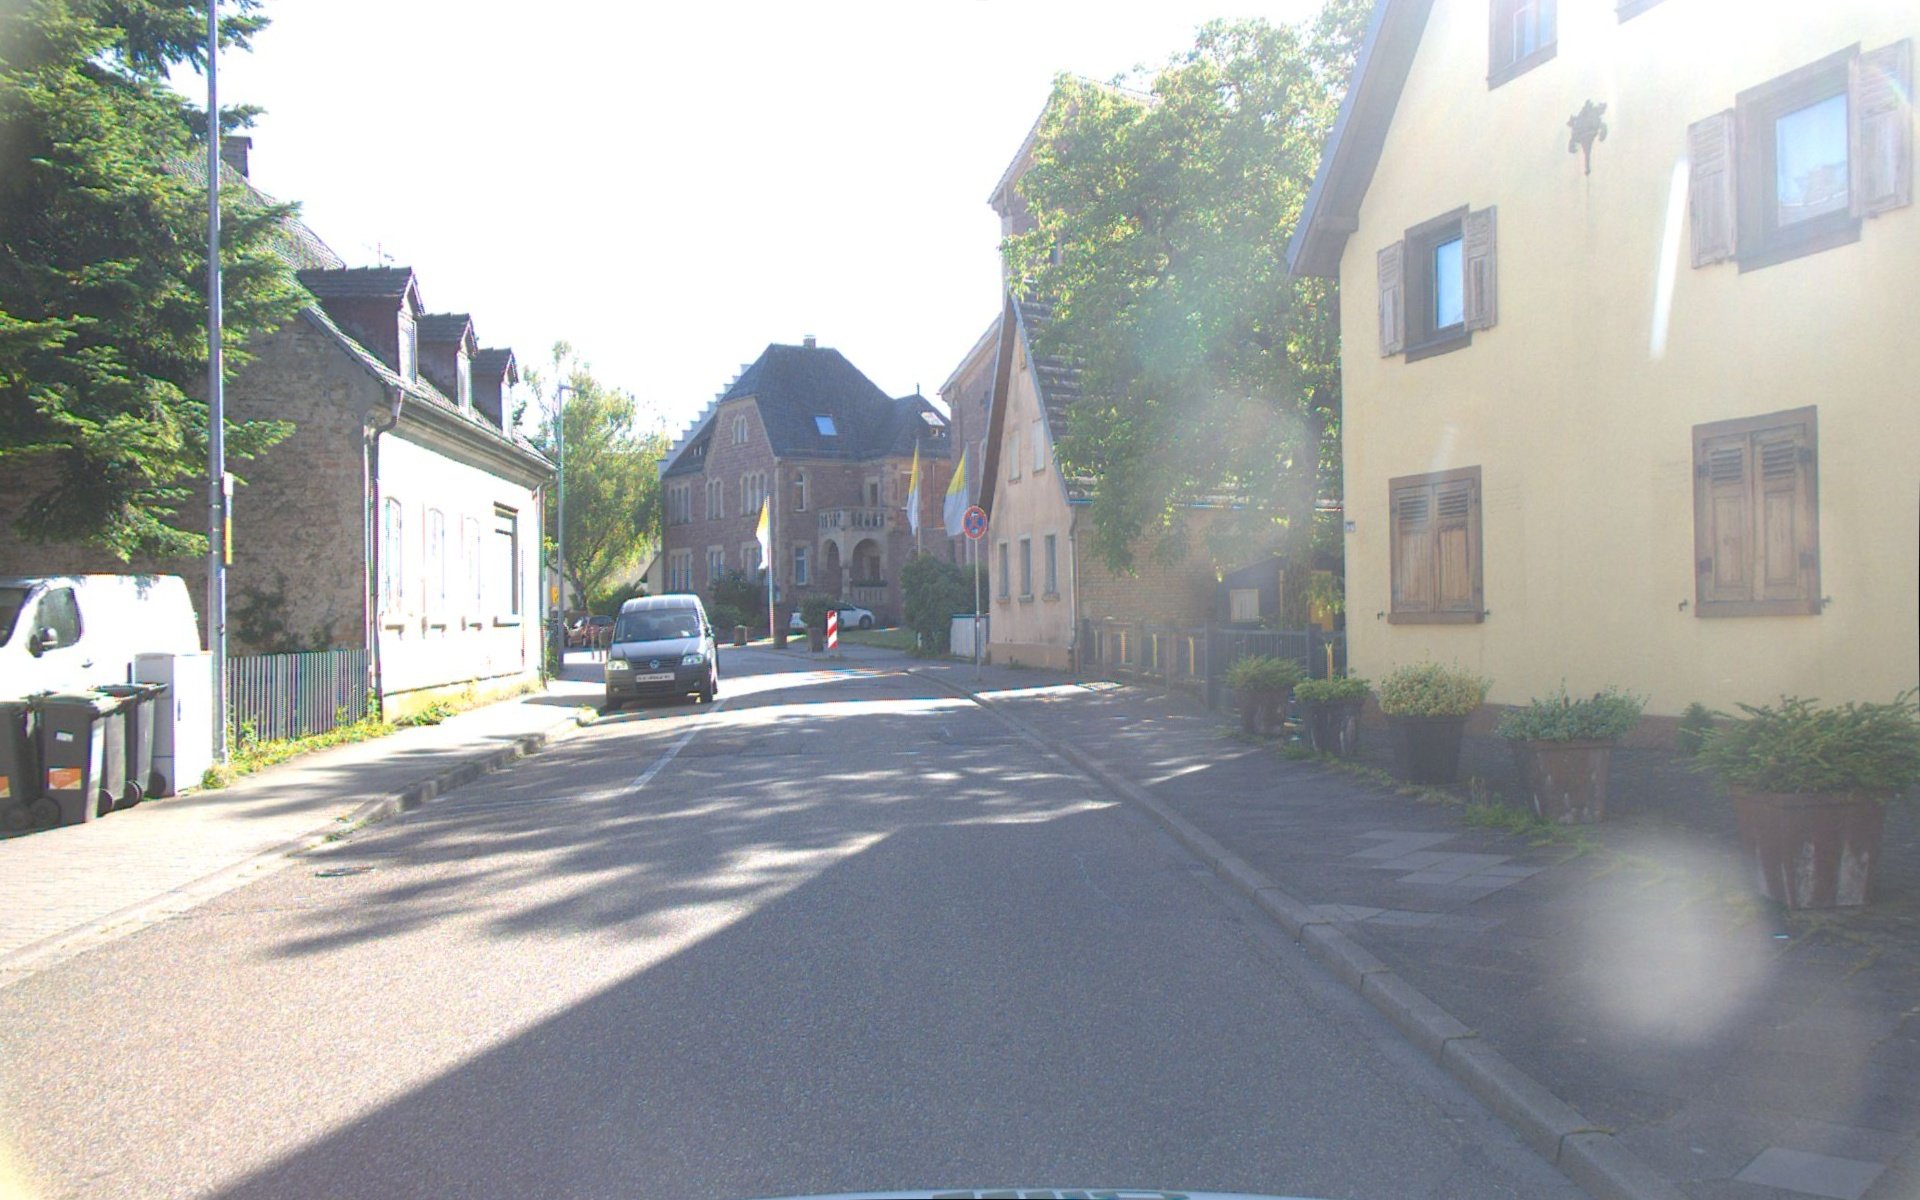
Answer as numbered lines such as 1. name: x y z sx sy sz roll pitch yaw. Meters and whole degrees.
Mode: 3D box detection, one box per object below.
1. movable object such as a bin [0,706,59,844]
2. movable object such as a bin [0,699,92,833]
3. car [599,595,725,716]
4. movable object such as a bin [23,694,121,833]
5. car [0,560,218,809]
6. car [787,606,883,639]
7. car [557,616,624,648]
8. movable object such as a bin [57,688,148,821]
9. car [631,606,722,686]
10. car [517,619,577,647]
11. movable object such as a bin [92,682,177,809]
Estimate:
1. movable object such as a bin: -6.941 1.275 12.089 0.411 0.940 0.490 -2 2 -4
2. movable object such as a bin: -6.960 1.255 12.608 0.411 0.940 0.490 -2 2 -4
3. car: -5.081 0.906 28.696 1.791 1.846 4.196 -3 0 -7
4. movable object such as a bin: -6.508 1.187 12.132 0.431 0.940 0.490 -2 2 -4
5. car: -8.829 0.717 15.325 1.902 1.990 5.136 -2 0 -5
6. car: -5.743 1.031 76.237 4.201 1.425 1.696 -1 -1 -37
7. car: -17.599 1.511 78.620 1.698 1.425 4.196 -1 -1 -34
8. movable object such as a bin: -6.537 1.170 12.625 0.419 0.940 0.490 -2 2 -4
9. car: -6.944 1.084 40.269 1.795 1.763 4.186 -3 0 -14
10. car: -21.425 1.712 85.716 1.698 1.425 4.196 -1 -1 -34
11. movable object such as a bin: -6.557 1.149 13.149 0.411 0.940 0.490 -2 2 -4
